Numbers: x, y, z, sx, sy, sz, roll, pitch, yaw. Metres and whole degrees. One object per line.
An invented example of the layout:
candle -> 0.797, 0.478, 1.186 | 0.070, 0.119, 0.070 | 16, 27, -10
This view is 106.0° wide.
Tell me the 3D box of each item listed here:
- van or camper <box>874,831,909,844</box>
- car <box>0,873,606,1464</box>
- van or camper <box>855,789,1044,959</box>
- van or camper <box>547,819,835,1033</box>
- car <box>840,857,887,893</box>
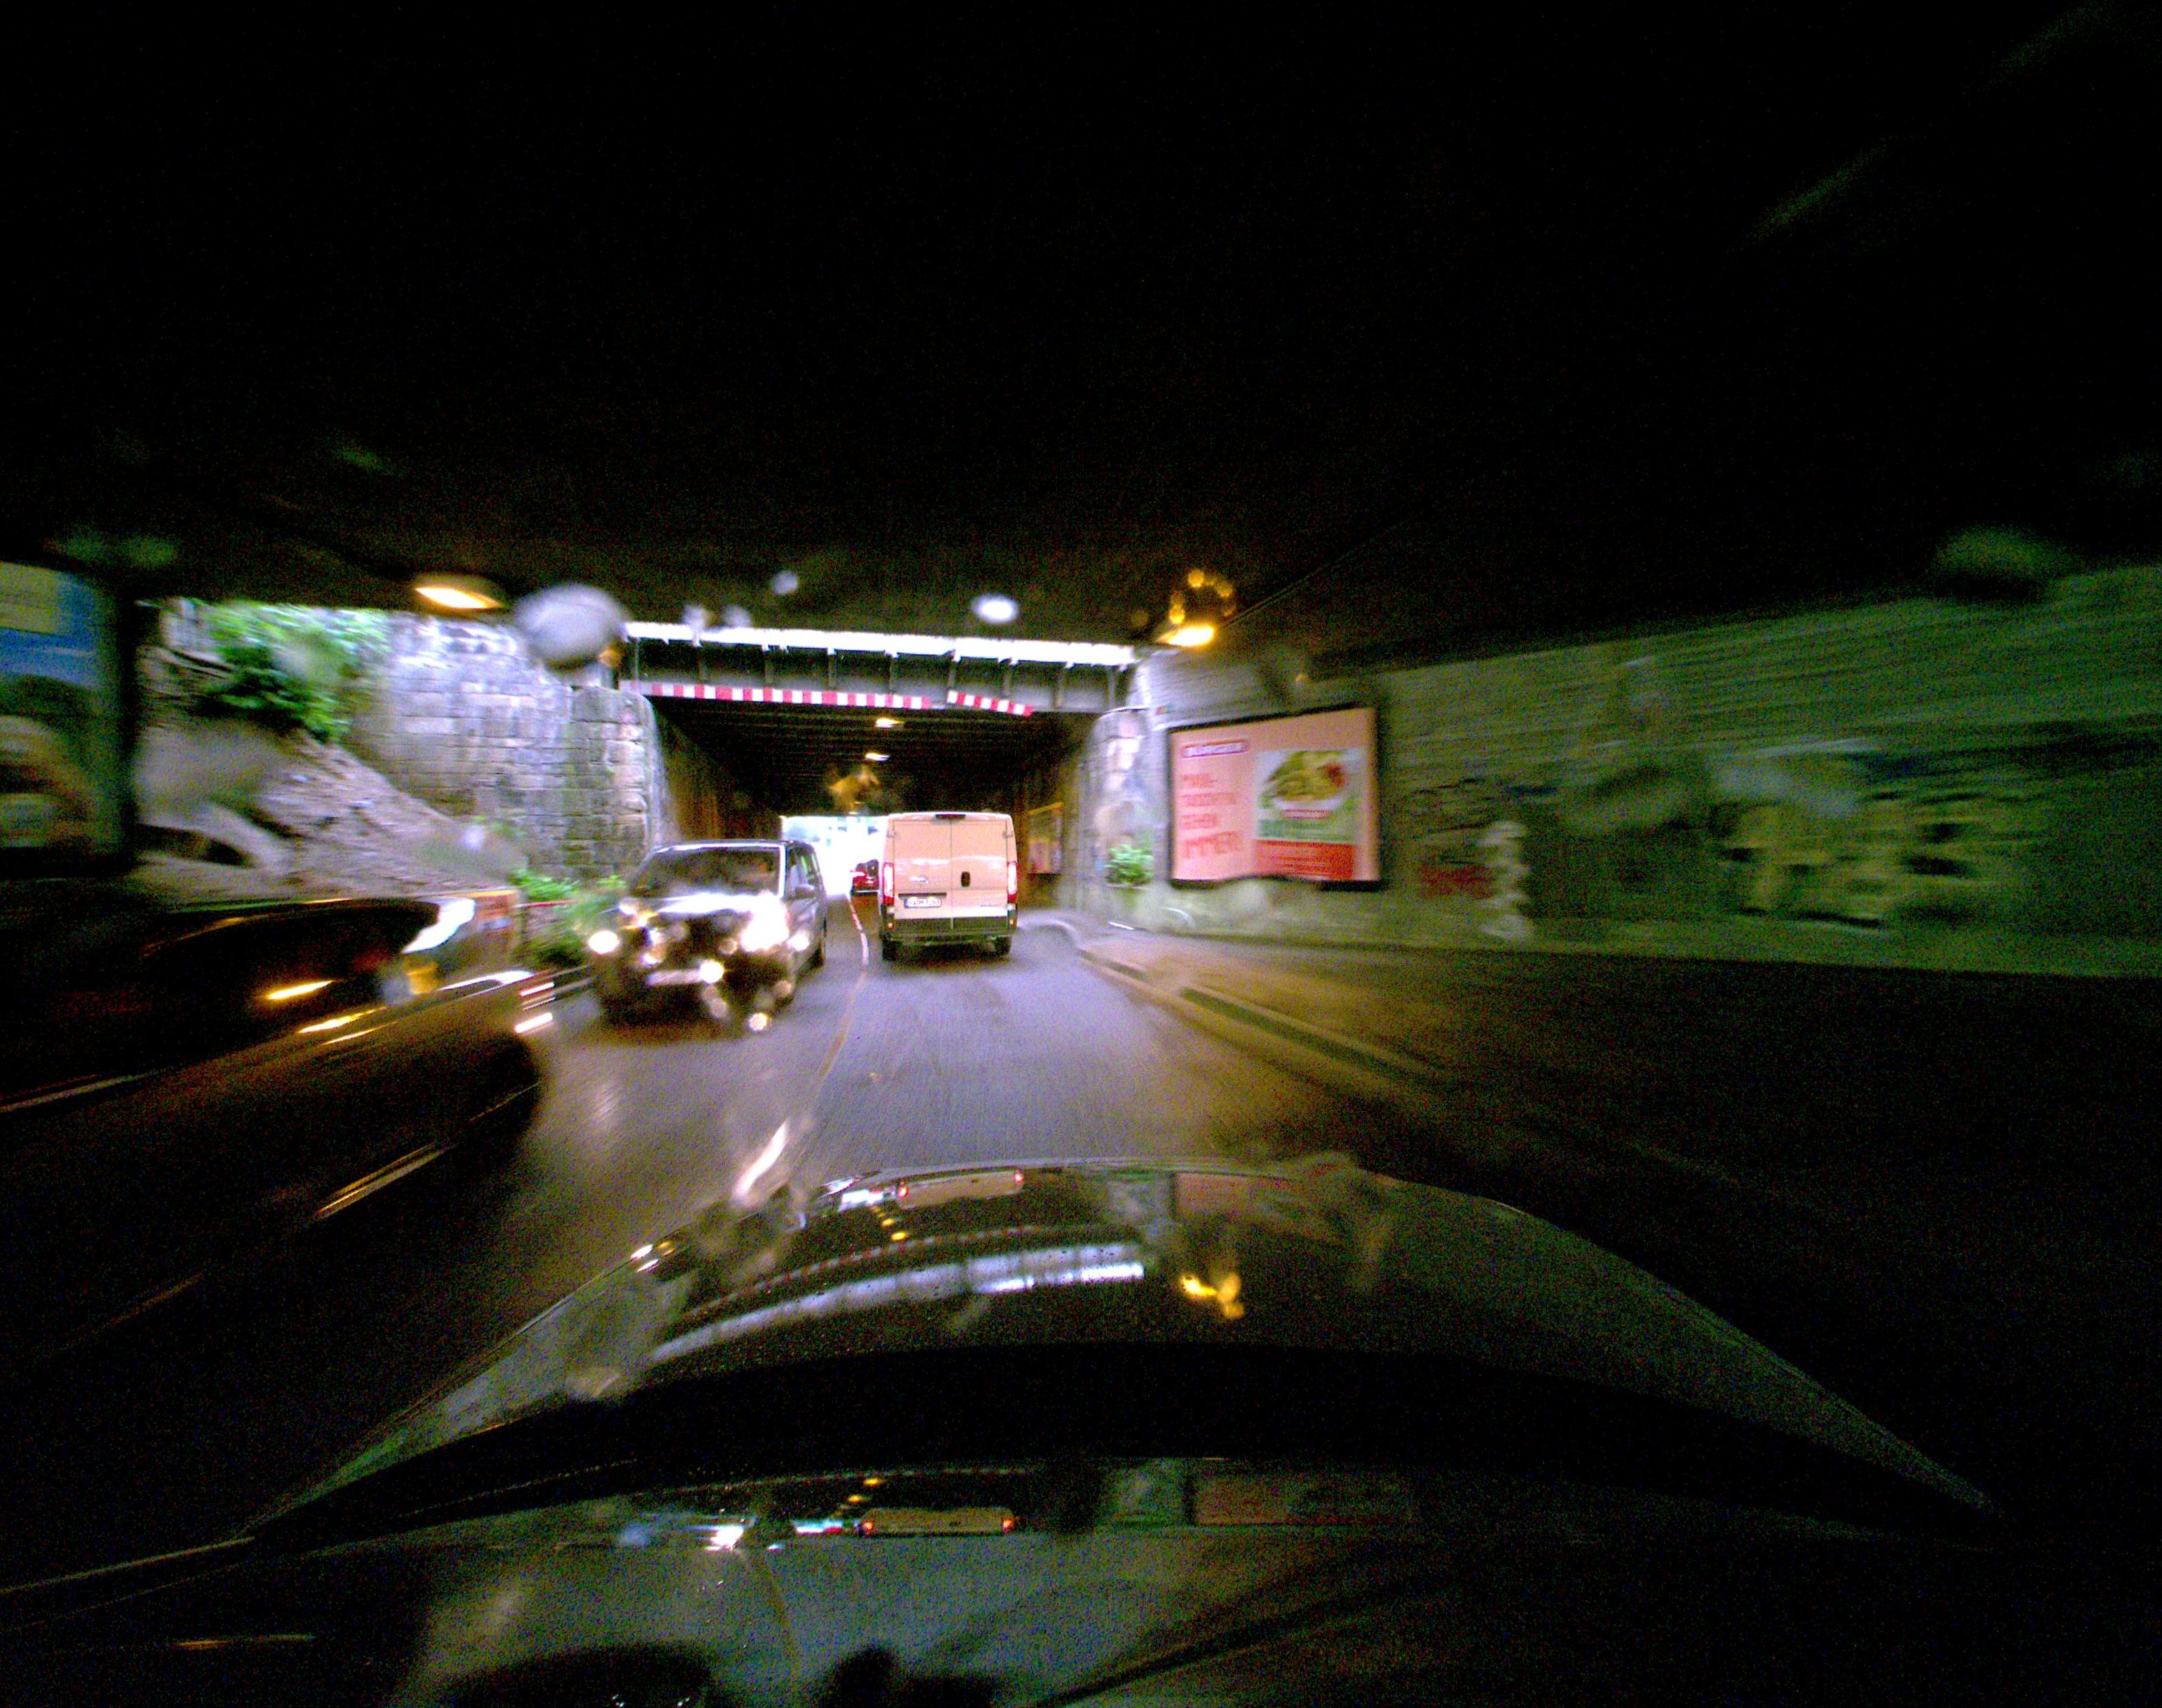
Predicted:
van or camper -> -30.605, -2.639, 131.631 | 5.312, 2.013, 2.070 | -1, 0, -12
car -> -3.822, 0.876, 2.838 | 1.989, 1.465, 4.101 | -2, 0, -3
van or camper -> -2.508, 0.330, 14.367 | 2.703, 2.417, 4.878 | -1, -1, -15
van or camper -> -4.335, 0.669, 10.058 | 1.995, 1.868, 5.117 | -2, 0, -12
car -> -9.521, 0.868, 35.730 | 1.839, 1.438, 4.082 | -2, 0, -15
